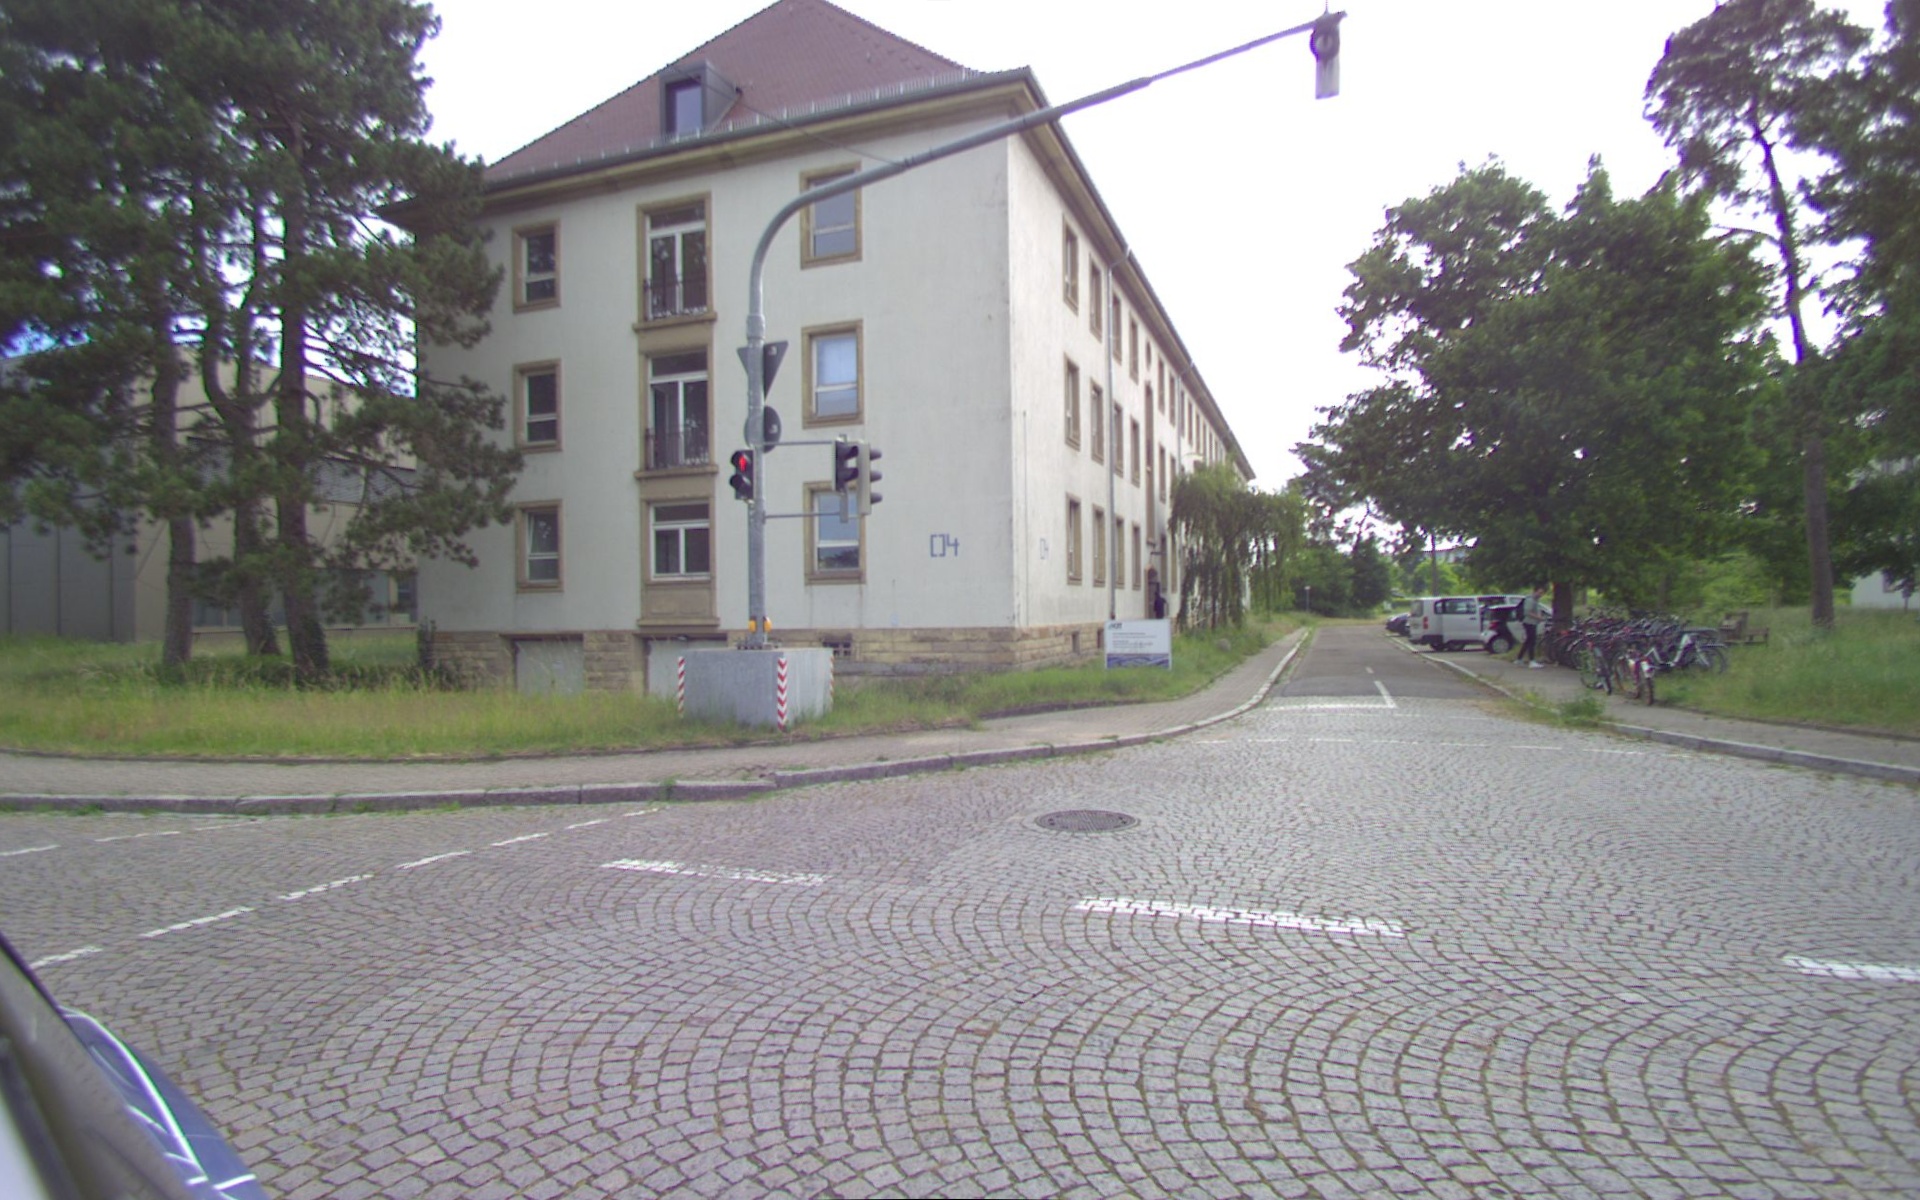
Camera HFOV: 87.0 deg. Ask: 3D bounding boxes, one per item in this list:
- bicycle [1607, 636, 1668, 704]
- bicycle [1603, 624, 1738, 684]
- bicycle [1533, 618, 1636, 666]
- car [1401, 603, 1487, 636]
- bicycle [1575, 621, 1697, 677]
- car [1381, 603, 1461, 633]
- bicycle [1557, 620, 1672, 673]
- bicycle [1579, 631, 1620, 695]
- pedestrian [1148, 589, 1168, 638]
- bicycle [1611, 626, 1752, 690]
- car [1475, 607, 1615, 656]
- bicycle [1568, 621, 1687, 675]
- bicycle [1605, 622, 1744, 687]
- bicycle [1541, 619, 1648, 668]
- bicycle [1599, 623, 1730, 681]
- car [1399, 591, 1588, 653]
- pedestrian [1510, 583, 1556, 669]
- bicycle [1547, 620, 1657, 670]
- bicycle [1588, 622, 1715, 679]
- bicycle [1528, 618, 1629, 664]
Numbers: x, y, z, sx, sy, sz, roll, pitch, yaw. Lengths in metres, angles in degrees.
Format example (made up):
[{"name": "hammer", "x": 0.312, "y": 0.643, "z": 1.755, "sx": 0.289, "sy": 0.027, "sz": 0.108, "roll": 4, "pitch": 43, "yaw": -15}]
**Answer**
[{"name": "bicycle", "x": 10.100, "y": 1.012, "z": 15.125, "sx": 0.457, "sy": 0.916, "sz": 1.649, "roll": -1, "pitch": -1, "yaw": 24}, {"name": "bicycle", "x": 13.123, "y": 0.996, "z": 18.750, "sx": 1.937, "sy": 1.073, "sz": 0.559, "roll": -1, "pitch": -1, "yaw": 19}, {"name": "bicycle", "x": 14.452, "y": 0.971, "z": 23.468, "sx": 1.937, "sy": 1.073, "sz": 0.559, "roll": -1, "pitch": -1, "yaw": 19}, {"name": "car", "x": 22.844, "y": 0.923, "z": 47.887, "sx": 3.415, "sy": 1.460, "sz": 1.901, "roll": -1, "pitch": -1, "yaw": 20}, {"name": "bicycle", "x": 13.590, "y": 0.983, "z": 20.395, "sx": 1.937, "sy": 1.073, "sz": 0.559, "roll": -1, "pitch": -1, "yaw": 19}, {"name": "car", "x": 23.150, "y": 0.916, "z": 50.954, "sx": 3.415, "sy": 1.460, "sz": 1.901, "roll": -1, "pitch": -1, "yaw": 20}, {"name": "bicycle", "x": 13.837, "y": 0.980, "z": 21.457, "sx": 1.937, "sy": 1.073, "sz": 0.559, "roll": -1, "pitch": -1, "yaw": 19}, {"name": "bicycle", "x": 10.635, "y": 1.021, "z": 16.858, "sx": 0.458, "sy": 0.981, "sz": 1.646, "roll": -1, "pitch": -1, "yaw": 29}, {"name": "pedestrian", "x": 7.129, "y": 0.486, "z": 36.385, "sx": 0.565, "sy": 1.714, "sz": 0.528, "roll": -1, "pitch": -1, "yaw": 24}, {"name": "bicycle", "x": 12.632, "y": 1.004, "z": 17.785, "sx": 1.885, "sy": 1.073, "sz": 0.613, "roll": -1, "pitch": -1, "yaw": 19}, {"name": "car", "x": 18.071, "y": 0.981, "z": 31.436, "sx": 3.415, "sy": 1.460, "sz": 1.901, "roll": -1, "pitch": -1, "yaw": 20}, {"name": "bicycle", "x": 13.750, "y": 0.981, "z": 20.908, "sx": 1.937, "sy": 1.073, "sz": 0.559, "roll": -1, "pitch": -1, "yaw": 19}, {"name": "bicycle", "x": 12.870, "y": 0.976, "z": 18.285, "sx": 1.937, "sy": 1.119, "sz": 0.559, "roll": -1, "pitch": -1, "yaw": 19}, {"name": "bicycle", "x": 14.267, "y": 0.974, "z": 22.819, "sx": 1.937, "sy": 1.073, "sz": 0.559, "roll": -1, "pitch": -1, "yaw": 19}, {"name": "bicycle", "x": 13.419, "y": 0.991, "z": 19.324, "sx": 1.937, "sy": 1.073, "sz": 0.559, "roll": -1, "pitch": -1, "yaw": 19}, {"name": "car", "x": 18.391, "y": 0.770, "z": 35.190, "sx": 5.312, "sy": 2.014, "sz": 2.282, "roll": -1, "pitch": -1, "yaw": 13}, {"name": "pedestrian", "x": 13.183, "y": 0.590, "z": 23.289, "sx": 0.788, "sy": 1.952, "sz": 0.584, "roll": -1, "pitch": -1, "yaw": 21}, {"name": "bicycle", "x": 14.013, "y": 0.977, "z": 22.143, "sx": 1.937, "sy": 1.073, "sz": 0.559, "roll": -1, "pitch": -1, "yaw": 19}, {"name": "bicycle", "x": 13.503, "y": 0.989, "z": 19.809, "sx": 1.937, "sy": 1.073, "sz": 0.559, "roll": -1, "pitch": -1, "yaw": 19}, {"name": "bicycle", "x": 14.660, "y": 0.967, "z": 24.027, "sx": 1.937, "sy": 1.073, "sz": 0.559, "roll": -1, "pitch": -1, "yaw": 19}]
